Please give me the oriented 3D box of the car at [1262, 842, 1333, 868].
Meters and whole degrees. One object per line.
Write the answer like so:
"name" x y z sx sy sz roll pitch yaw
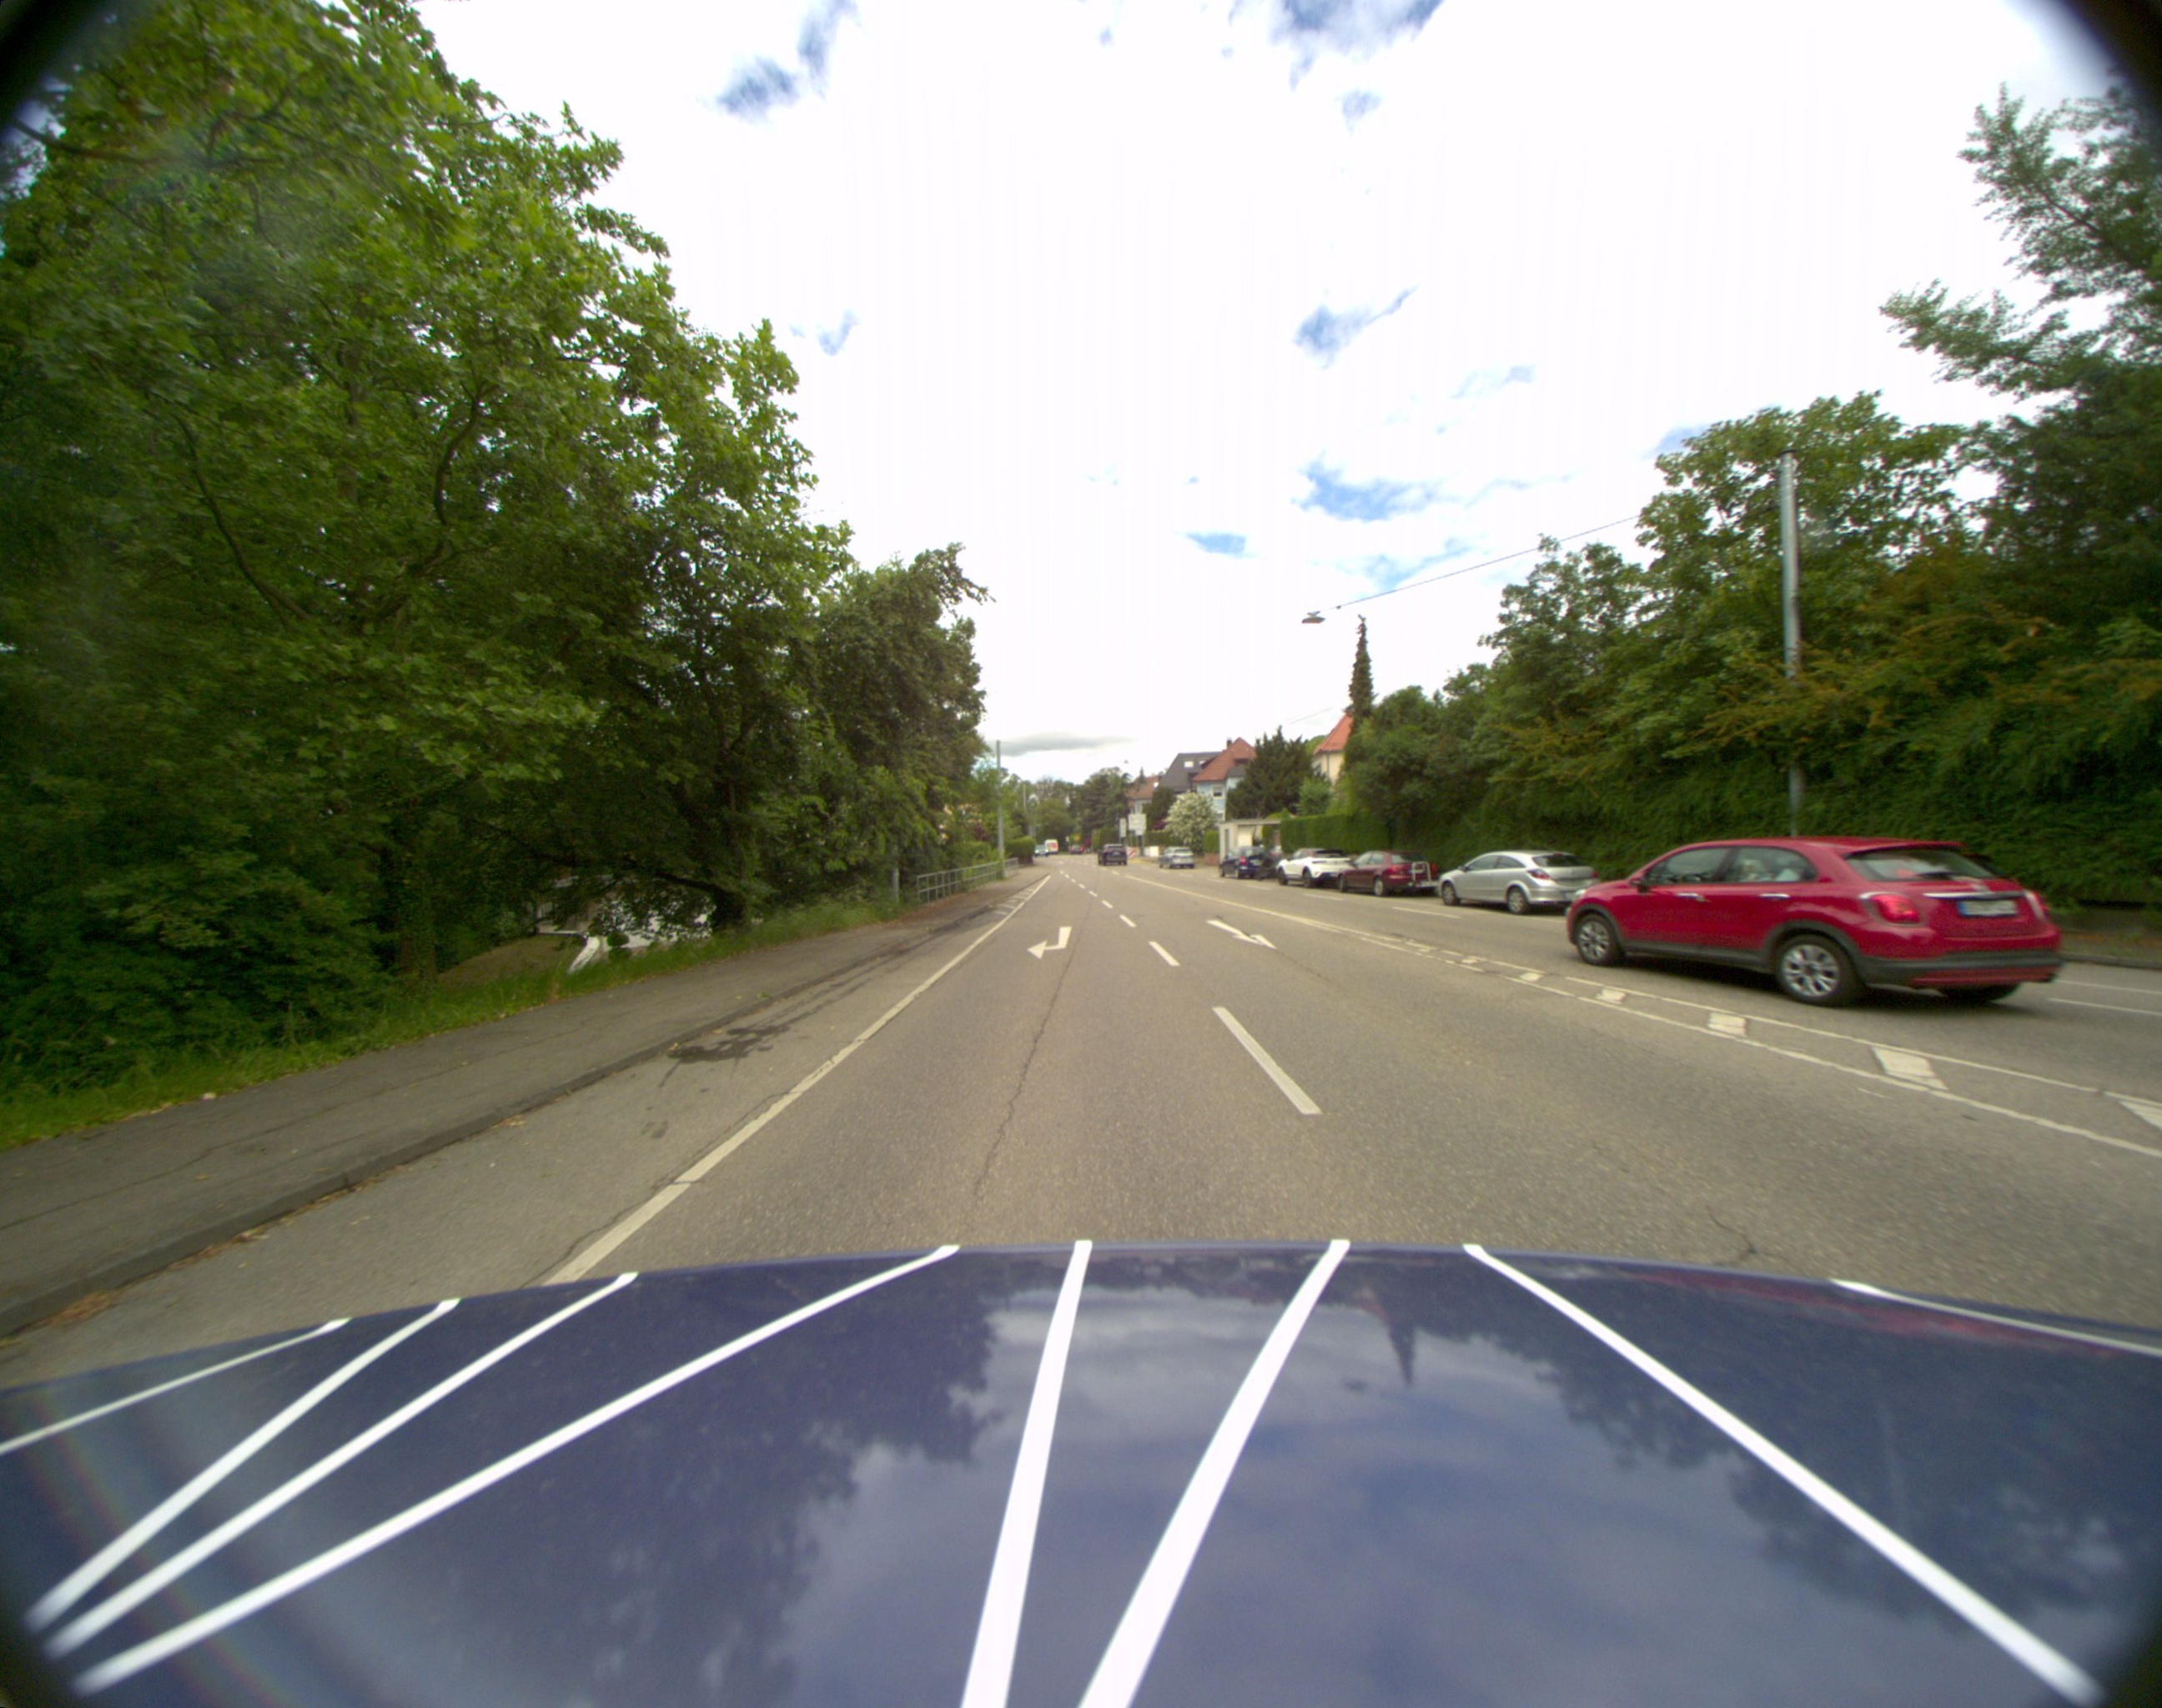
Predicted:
"car" 12.578 0.046 44.294 3.596 1.383 1.850 -2 1 3

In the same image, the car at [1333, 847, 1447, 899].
"car" 9.653 0.544 24.092 1.675 1.469 3.908 -1 1 -7

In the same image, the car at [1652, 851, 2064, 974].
"car" 10.973 0.695 11.228 1.785 1.430 3.997 -1 1 -7

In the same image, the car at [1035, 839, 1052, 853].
"car" -5.280 -1.088 106.141 1.864 1.855 4.607 -2 0 -10

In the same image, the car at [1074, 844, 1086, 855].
"car" -0.118 -0.658 113.961 1.738 1.545 4.447 -2 1 1

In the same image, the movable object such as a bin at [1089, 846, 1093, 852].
"movable object such as a bin" 1.763 -0.922 132.427 0.479 1.029 0.717 -2 1 22

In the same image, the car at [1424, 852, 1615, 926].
"car" 10.218 0.723 18.159 1.674 1.480 4.428 -1 1 -6

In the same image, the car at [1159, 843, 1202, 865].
"car" 6.726 -0.015 51.870 1.815 1.447 4.410 0 1 -7

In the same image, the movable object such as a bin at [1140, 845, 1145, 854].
"movable object such as a bin" 6.647 -0.464 81.974 0.509 0.968 0.540 -2 2 -3

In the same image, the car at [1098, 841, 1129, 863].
"car" 2.507 -0.188 59.735 1.848 1.638 4.209 -2 1 -6

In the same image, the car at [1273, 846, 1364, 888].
"car" 9.108 0.442 29.538 1.895 1.486 4.024 0 1 -7

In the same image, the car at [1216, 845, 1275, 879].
"car" 8.083 0.330 37.698 1.684 1.547 3.968 0 1 -6

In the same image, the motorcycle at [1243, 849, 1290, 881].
"motorcycle" 8.313 0.500 34.144 0.890 1.347 2.302 0 -1 -22

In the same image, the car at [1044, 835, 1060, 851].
"car" -4.830 -1.845 126.148 2.118 2.484 6.120 -2 1 -6
